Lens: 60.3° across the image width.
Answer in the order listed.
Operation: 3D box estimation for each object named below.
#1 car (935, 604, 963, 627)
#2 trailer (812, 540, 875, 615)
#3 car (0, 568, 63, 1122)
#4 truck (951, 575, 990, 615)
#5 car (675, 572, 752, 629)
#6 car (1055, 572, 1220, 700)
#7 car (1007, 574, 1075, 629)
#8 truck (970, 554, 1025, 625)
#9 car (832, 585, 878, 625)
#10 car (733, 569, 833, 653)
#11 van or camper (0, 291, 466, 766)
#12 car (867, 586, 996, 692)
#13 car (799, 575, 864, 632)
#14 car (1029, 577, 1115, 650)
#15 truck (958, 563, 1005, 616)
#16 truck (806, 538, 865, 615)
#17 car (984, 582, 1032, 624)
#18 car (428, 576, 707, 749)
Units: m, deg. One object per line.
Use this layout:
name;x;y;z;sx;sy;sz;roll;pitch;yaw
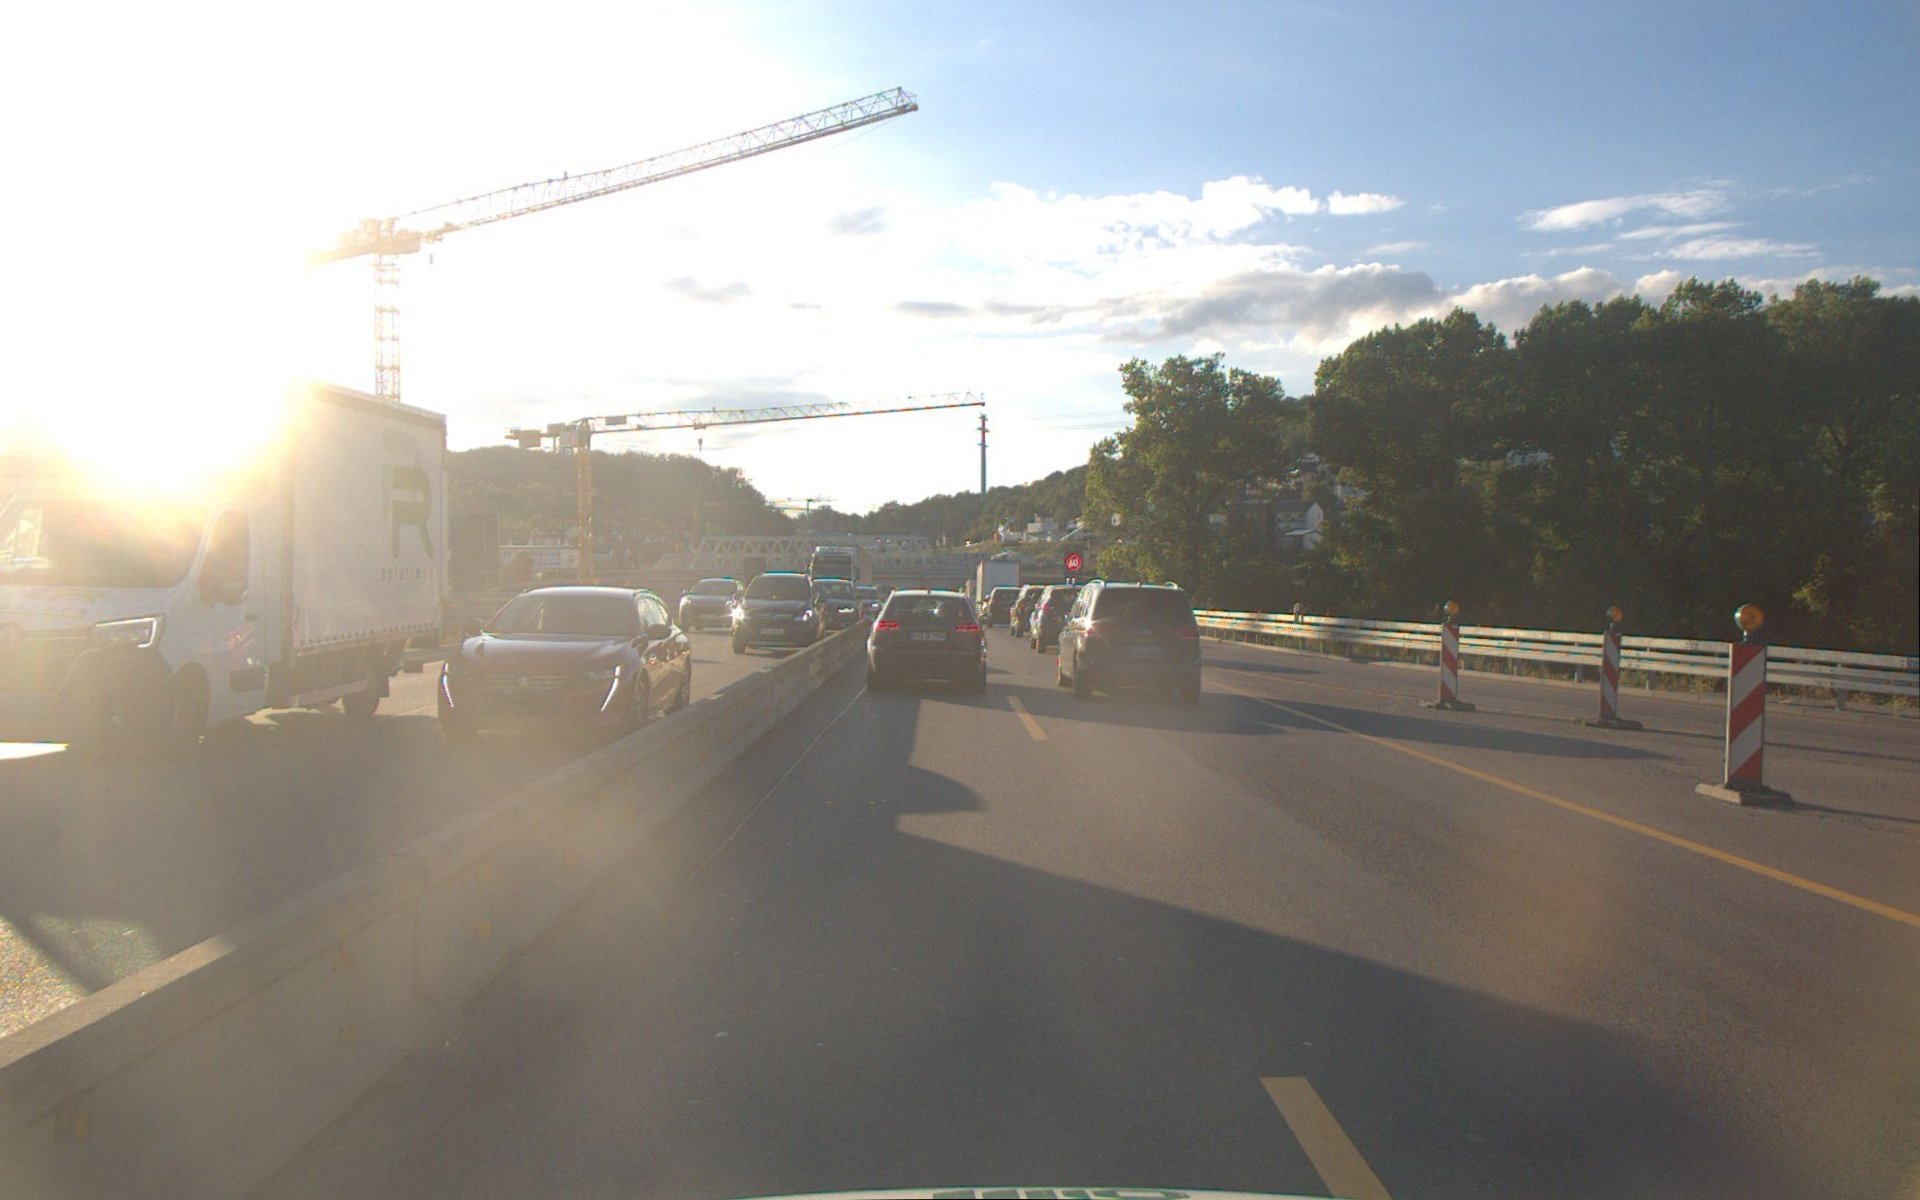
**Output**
car;-0.771;1.037;112.155;1.825;1.445;3.999;2;0;-1
trailer;-6.814;-1.246;98.717;2.756;4.121;14.020;0;0;0
car;-3.432;0.663;2.361;1.779;1.488;4.705;1;0;-1
truck;1.125;-0.622;196.221;3.813;4.577;13.840;1;0;-3
car;-7.291;-0.006;49.248;1.657;1.596;4.293;1;0;-1
car;2.512;0.447;24.489;1.776;1.643;4.525;3;1;-2
car;2.493;0.087;51.990;1.837;1.627;4.964;0;-1;-1
truck;2.476;-0.866;115.037;3.316;4.576;15.267;1;1;0
car;-4.286;0.225;67.923;1.731;1.562;3.998;1;0;-2
car;-3.721;0.199;35.481;1.790;1.668;4.528;1;0;-2
van or camper;-7.094;-0.565;16.131;2.408;3.559;7.412;1;0;-1
car;-0.468;0.520;24.667;1.734;1.414;3.998;1;0;-2
car;-3.817;0.095;49.624;1.708;1.611;4.704;1;0;-2
car;2.641;0.308;39.756;1.738;1.614;4.134;1;0;0
truck;1.882;-0.944;153.009;3.811;4.577;15.264;1;0;-1
truck;-6.840;-1.248;91.646;2.756;4.119;5.672;0;0;0
car;1.971;0.142;69.064;1.778;1.661;4.410;1;-1;-1
car;-3.763;0.529;16.717;1.779;1.488;4.704;1;0;-1
